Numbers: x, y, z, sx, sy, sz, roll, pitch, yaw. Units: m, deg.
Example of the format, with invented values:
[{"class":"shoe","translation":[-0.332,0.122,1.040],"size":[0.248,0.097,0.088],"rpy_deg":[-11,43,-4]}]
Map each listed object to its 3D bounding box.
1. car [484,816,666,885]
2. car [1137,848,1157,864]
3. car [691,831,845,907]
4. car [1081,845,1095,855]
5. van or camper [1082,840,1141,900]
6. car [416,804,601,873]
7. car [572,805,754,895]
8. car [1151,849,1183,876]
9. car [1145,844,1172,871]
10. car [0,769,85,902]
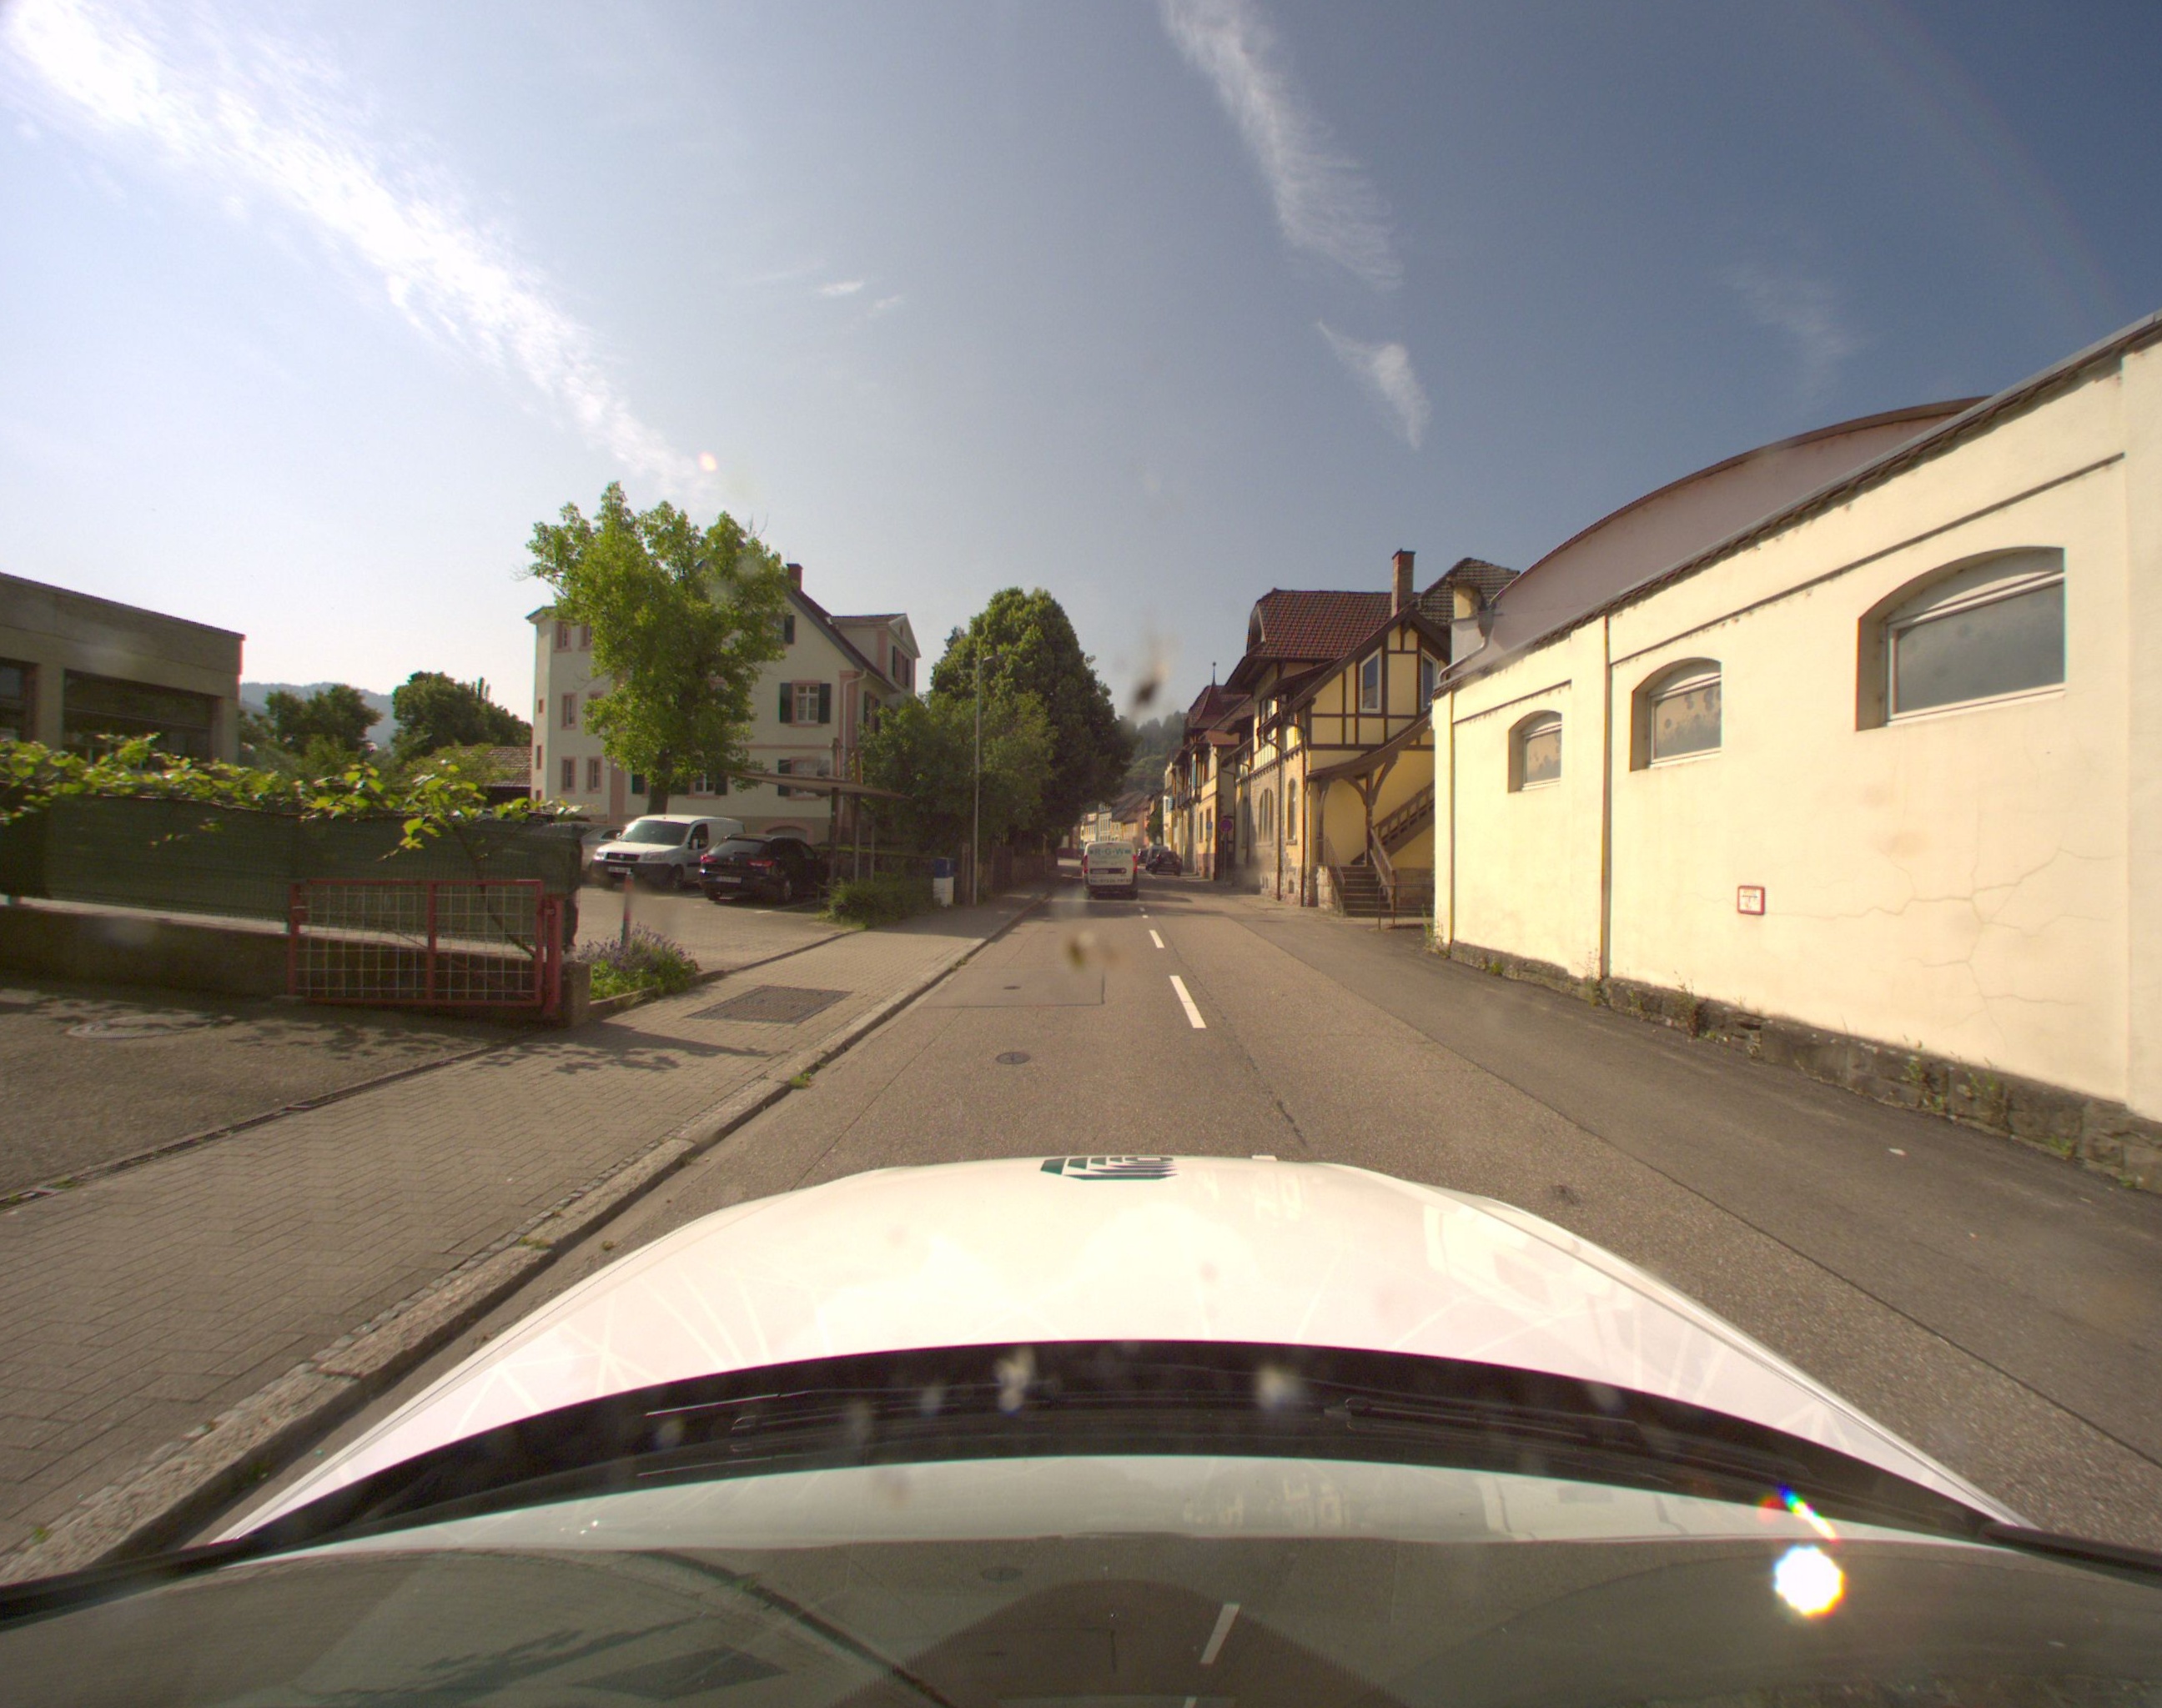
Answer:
[{"class":"car","translation":[-12.207,-0.108,20.008],"size":[1.808,1.422,4.002],"rpy_deg":[4,1,2]},{"class":"car","translation":[6.539,0.186,80.785],"size":[1.664,1.508,4.000],"rpy_deg":[0,0,0]},{"class":"car","translation":[-6.948,0.272,18.607],"size":[1.609,1.461,4.396],"rpy_deg":[3,1,2]},{"class":"car","translation":[1.372,-0.790,157.355],"size":[1.994,1.782,3.986],"rpy_deg":[3,1,-10]},{"class":"van or camper","translation":[0.995,0.497,27.518],"size":[1.821,1.844,4.189],"rpy_deg":[0,0,1]},{"class":"car","translation":[-14.730,-0.391,21.280],"size":[1.800,1.505,4.003],"rpy_deg":[4,1,2]},{"class":"car","translation":[-9.829,-0.101,19.650],"size":[1.817,1.772,4.682],"rpy_deg":[4,0,0]},{"class":"car","translation":[5.716,0.532,54.205],"size":[1.803,1.596,3.929],"rpy_deg":[3,1,2]},{"class":"car","translation":[6.084,0.233,64.341],"size":[1.864,2.013,4.002],"rpy_deg":[2,0,2]},{"class":"car","translation":[-13.599,-0.378,8.631],"size":[3.818,1.416,1.705],"rpy_deg":[6,0,0]}]
